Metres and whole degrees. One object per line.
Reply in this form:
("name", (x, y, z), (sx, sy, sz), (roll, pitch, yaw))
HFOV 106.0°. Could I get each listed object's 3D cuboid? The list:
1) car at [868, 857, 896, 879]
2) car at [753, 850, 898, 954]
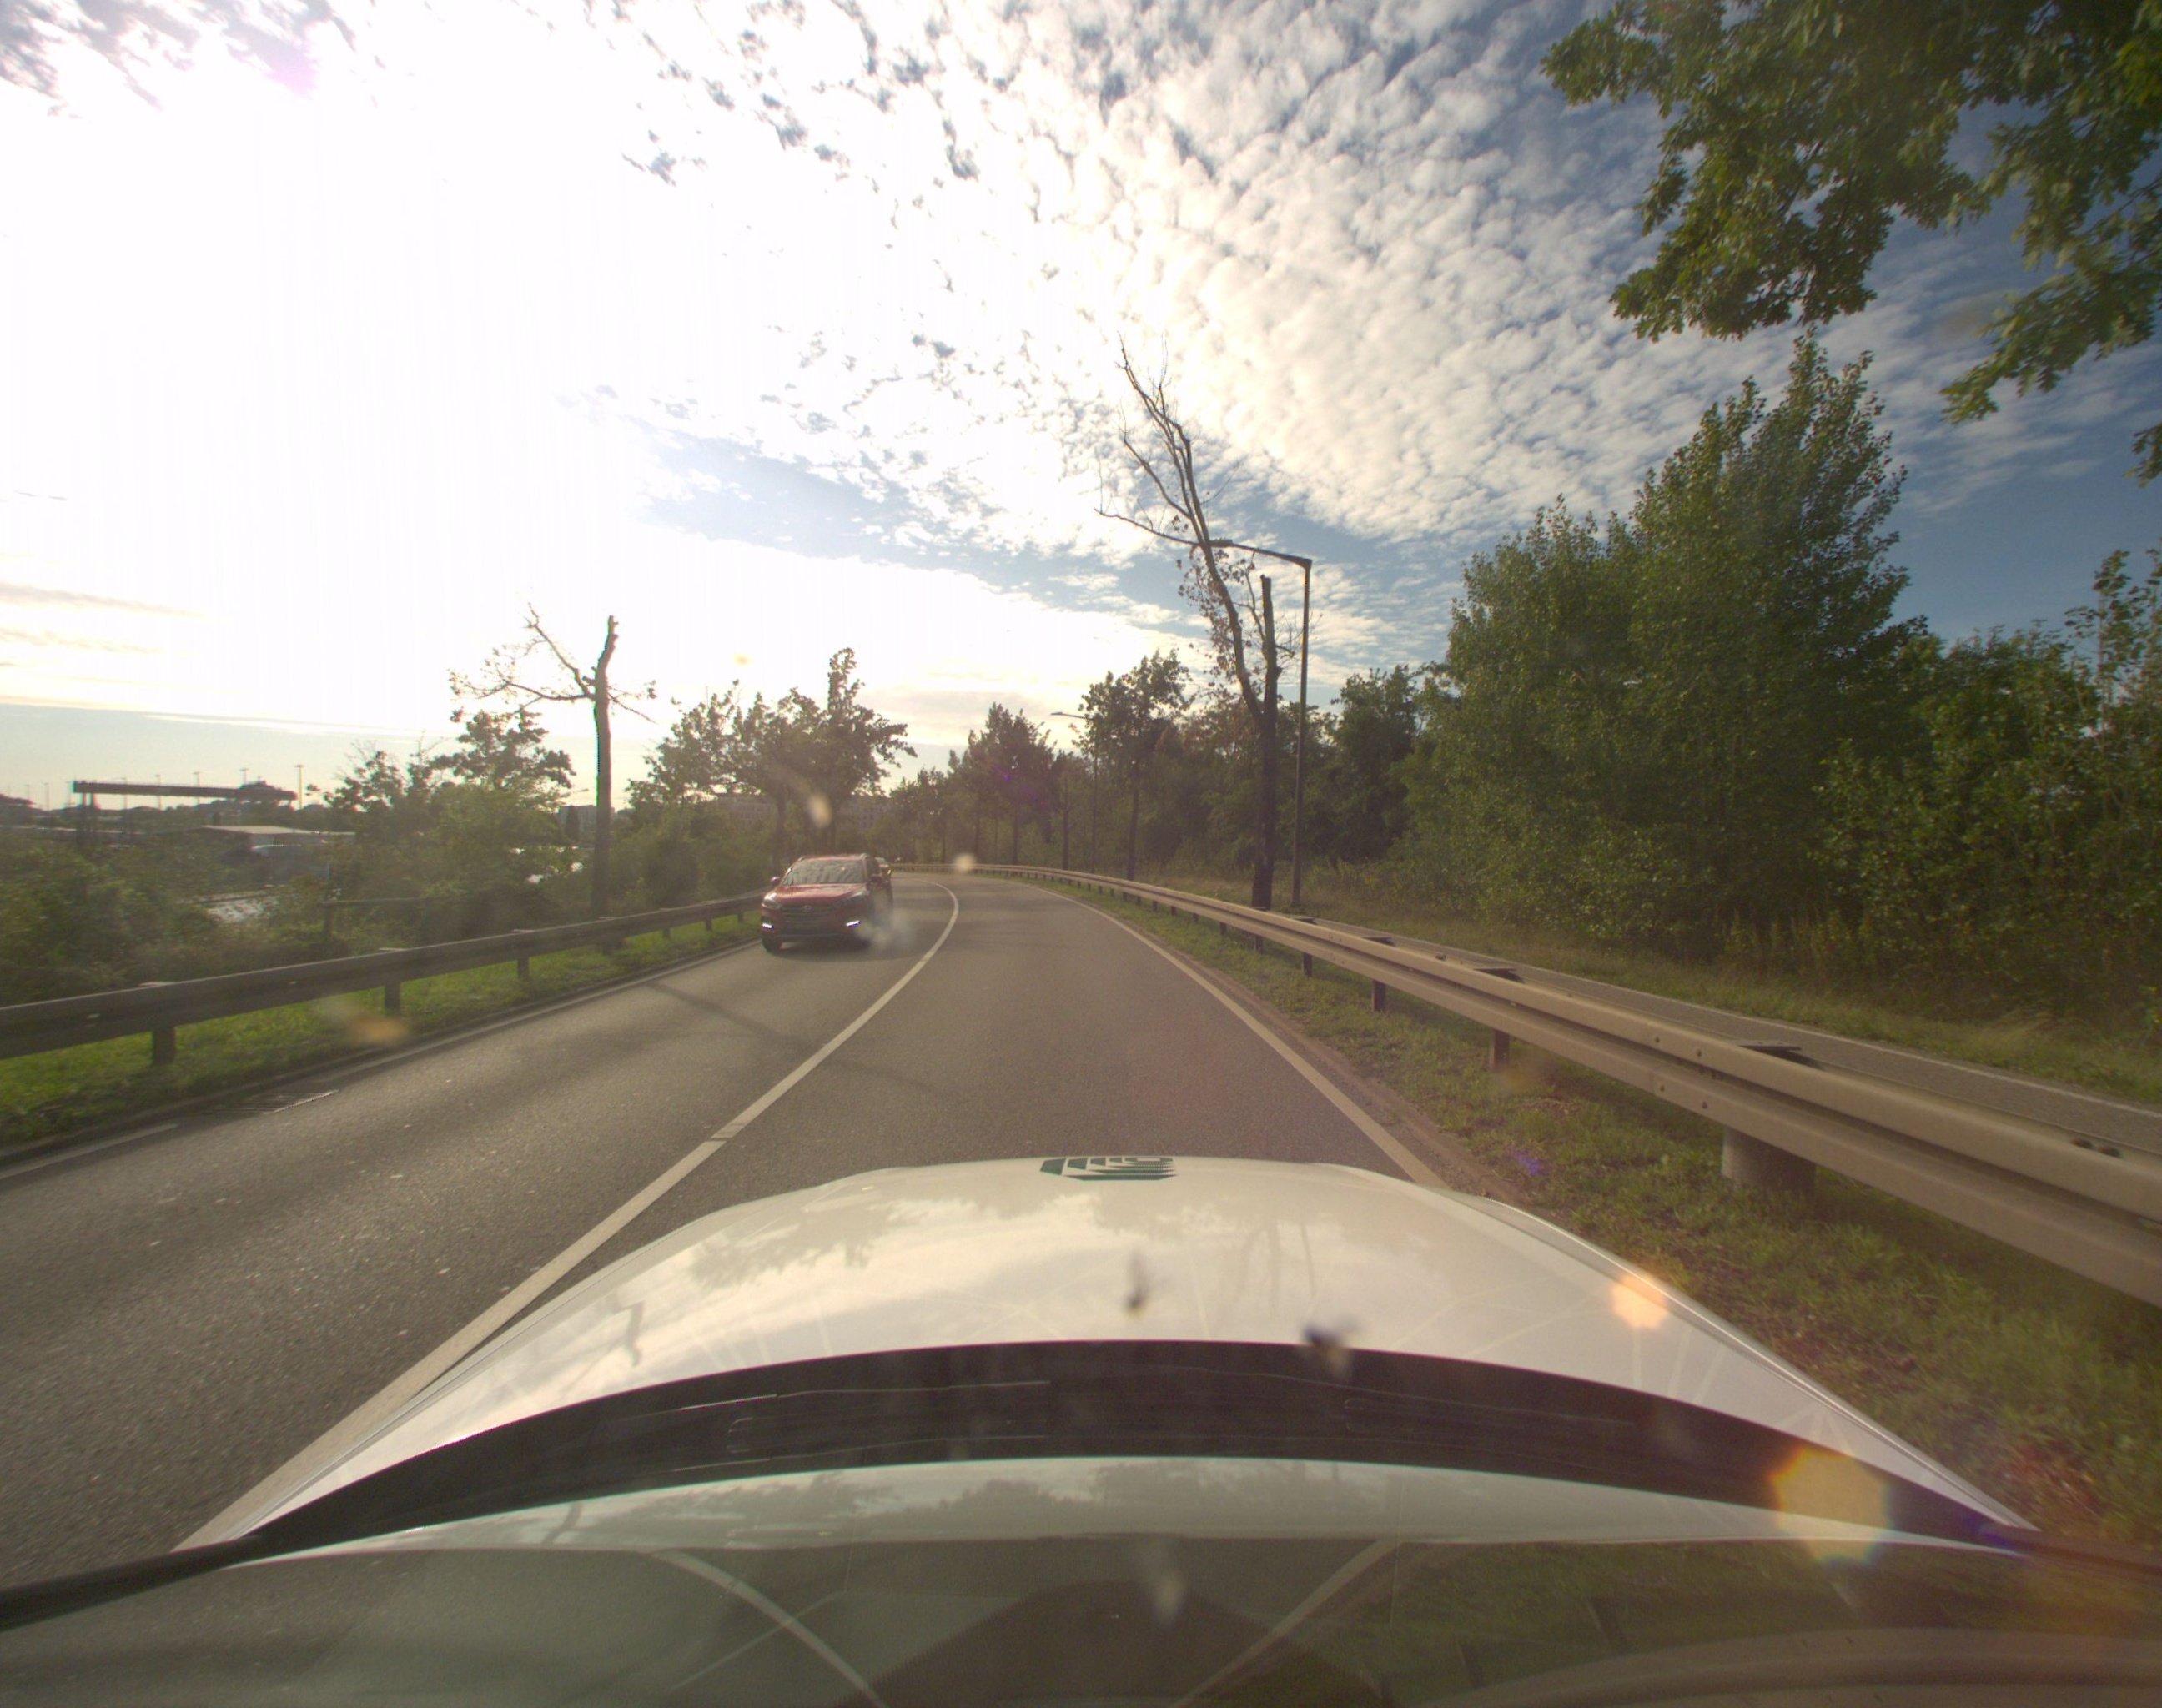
("car", (-13.879, 0.978, 56.855), (1.802, 1.425, 3.853), (-1, 0, -14))
("car", (-4.678, 0.775, 15.558), (1.807, 1.674, 4.288), (-1, 0, -6))
